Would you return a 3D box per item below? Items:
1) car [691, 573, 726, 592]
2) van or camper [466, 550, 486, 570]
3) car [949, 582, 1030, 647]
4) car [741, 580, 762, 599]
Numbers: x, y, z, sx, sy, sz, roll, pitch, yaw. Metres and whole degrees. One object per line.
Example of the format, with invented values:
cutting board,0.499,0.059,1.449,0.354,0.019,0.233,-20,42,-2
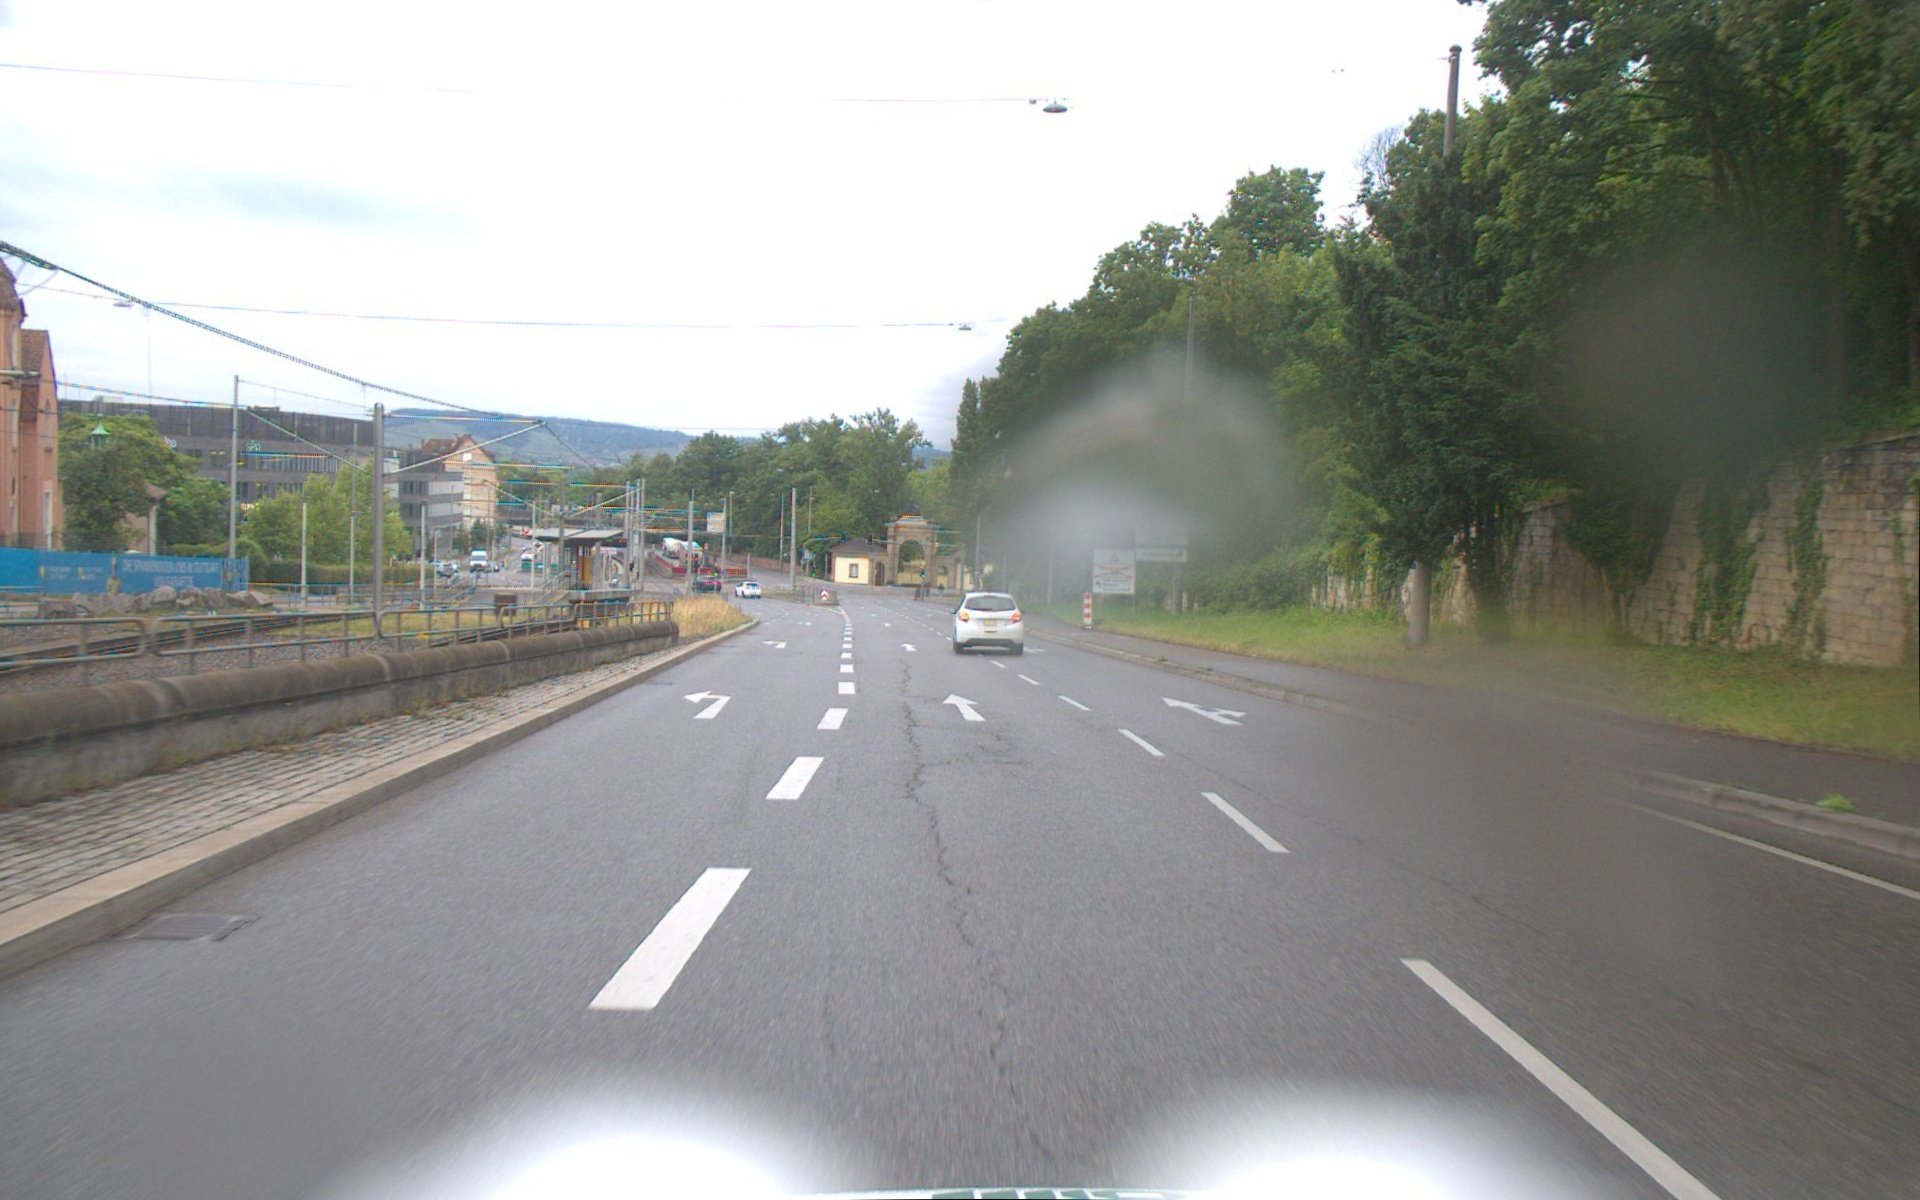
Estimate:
car,-24.736,-1.734,162.470,1.975,1.735,3.955,1,1,-33
van or camper,-59.817,-4.964,204.373,1.958,2.385,3.989,-1,1,-12
car,0.688,0.335,41.089,1.831,1.537,3.898,0,0,-2
car,-19.168,-0.973,151.815,1.789,1.634,3.992,-1,1,-9
